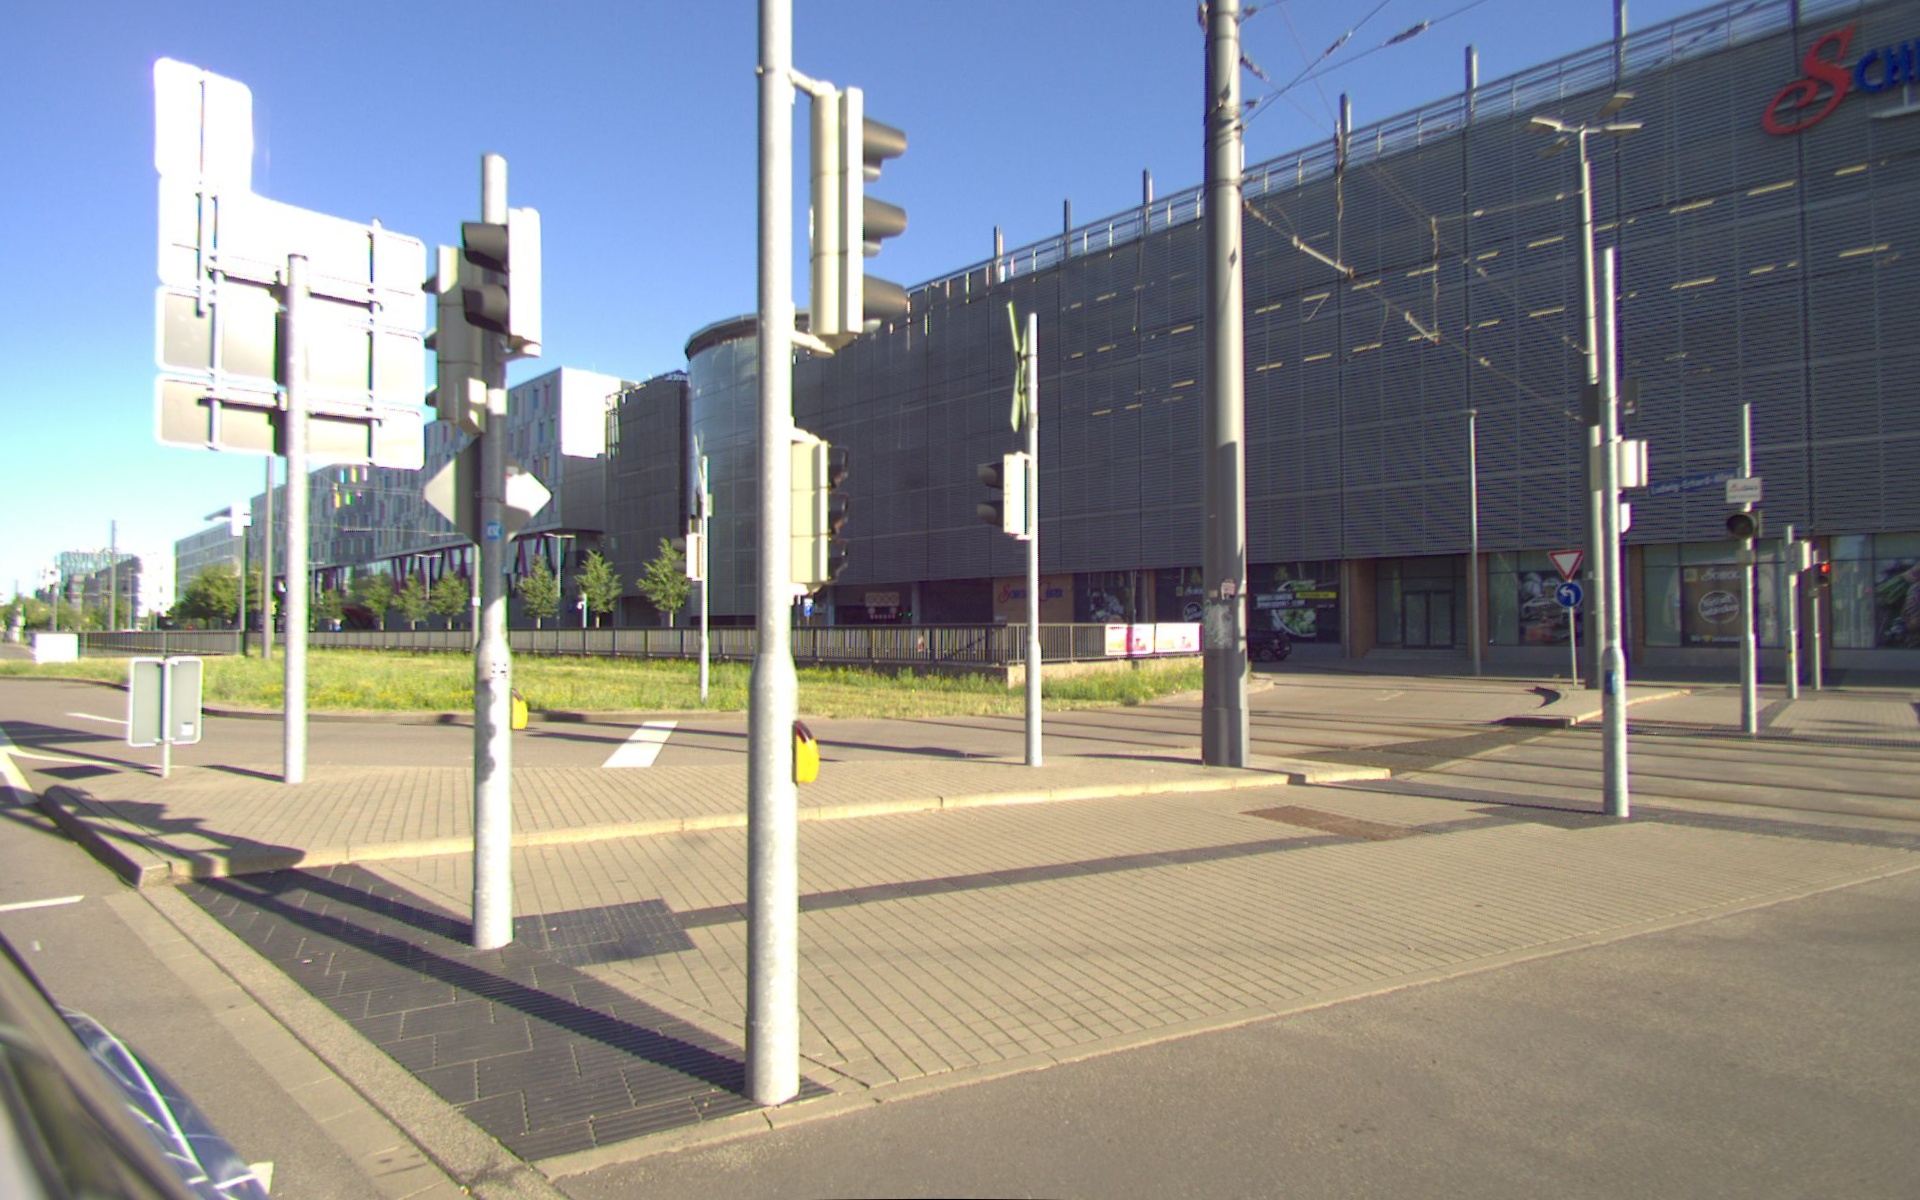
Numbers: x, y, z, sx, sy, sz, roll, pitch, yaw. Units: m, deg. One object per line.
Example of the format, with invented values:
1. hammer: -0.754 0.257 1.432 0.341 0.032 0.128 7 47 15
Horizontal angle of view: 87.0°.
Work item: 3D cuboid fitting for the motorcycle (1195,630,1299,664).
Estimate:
1. motorcycle: 12.727 2.067 45.068 4.001 1.464 1.971 -2 -3 44
